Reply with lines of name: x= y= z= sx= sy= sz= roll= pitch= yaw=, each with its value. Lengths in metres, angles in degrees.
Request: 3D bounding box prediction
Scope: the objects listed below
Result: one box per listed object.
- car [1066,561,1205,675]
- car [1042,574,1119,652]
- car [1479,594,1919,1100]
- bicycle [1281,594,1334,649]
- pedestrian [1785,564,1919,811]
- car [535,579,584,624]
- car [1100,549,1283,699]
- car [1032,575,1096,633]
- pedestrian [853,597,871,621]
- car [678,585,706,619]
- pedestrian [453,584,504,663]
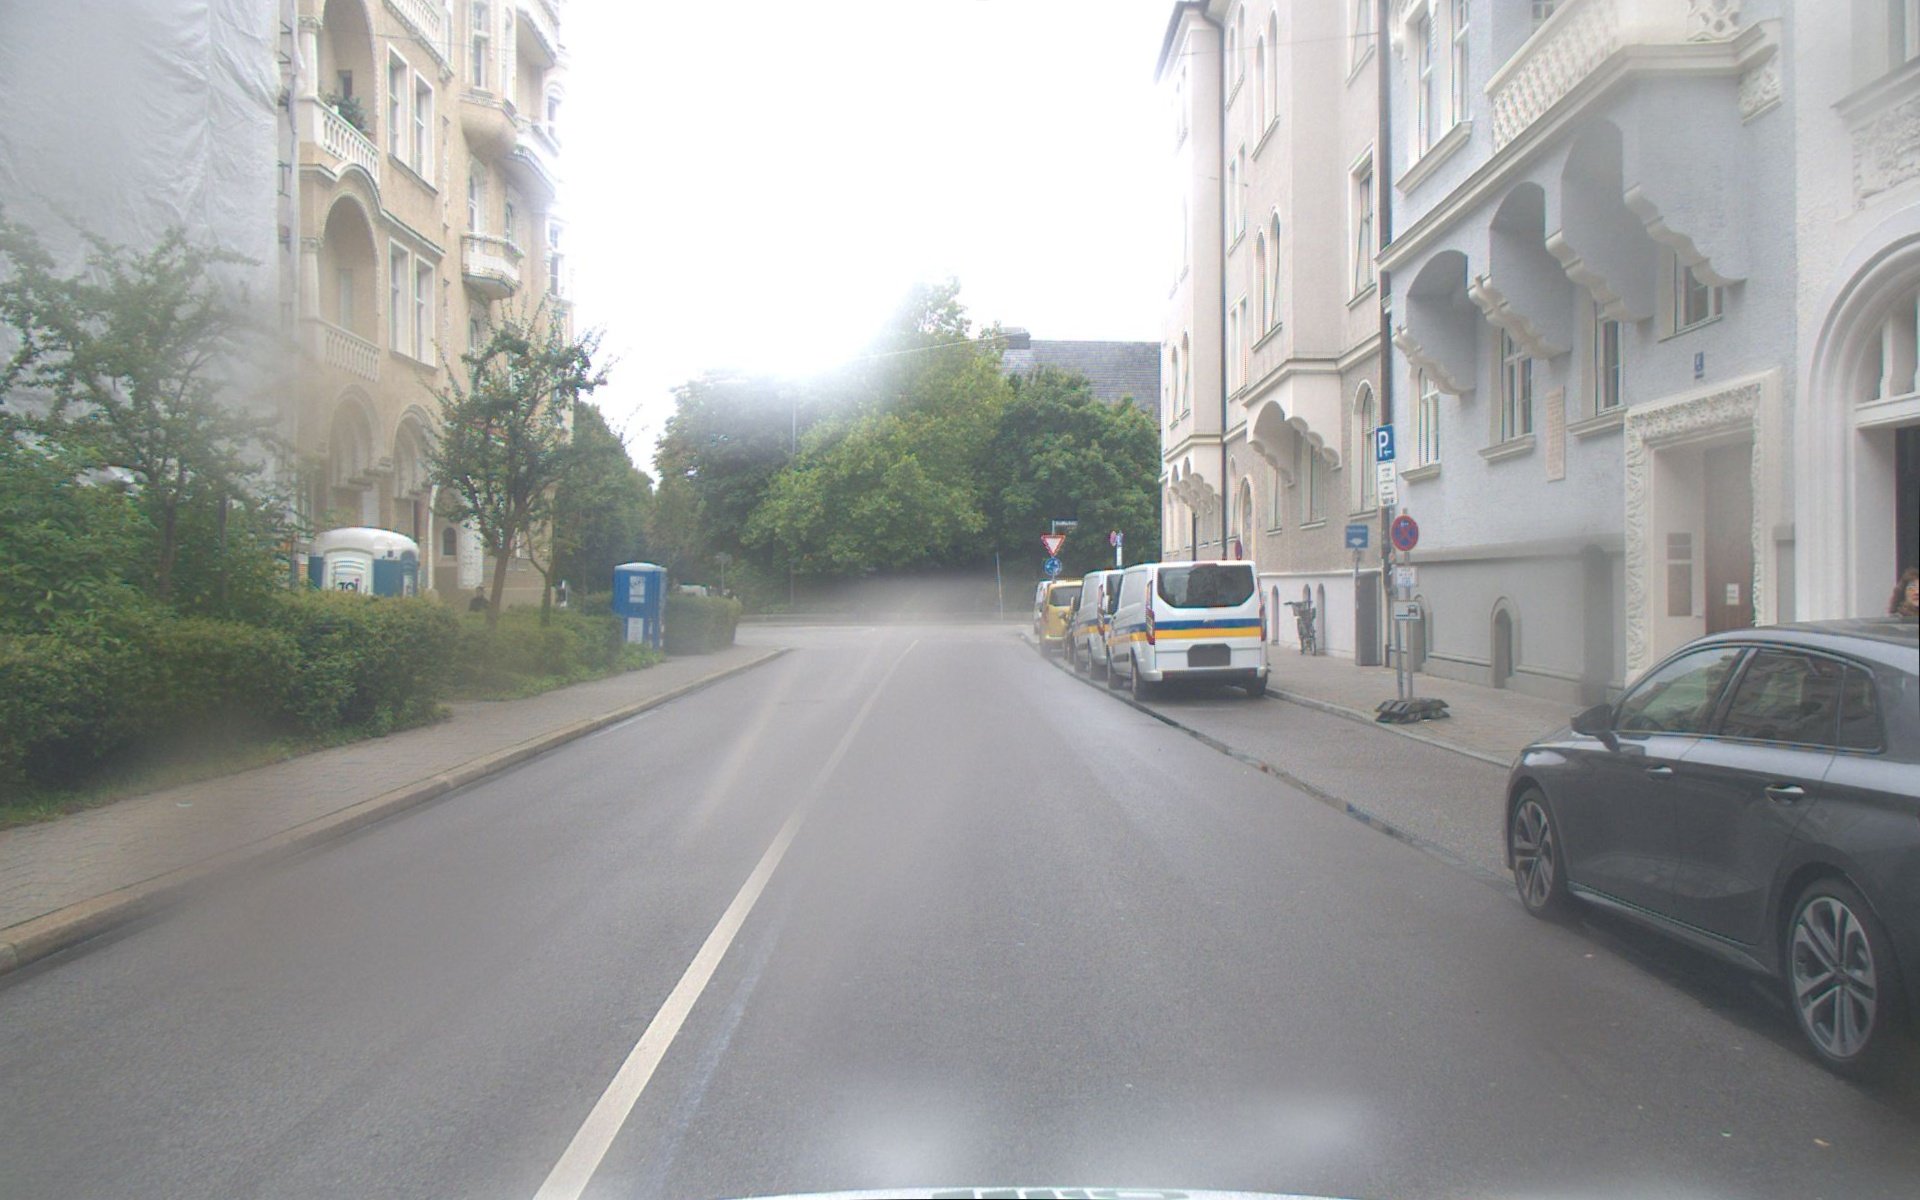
car: x=3.267 y=0.298 z=31.787 sx=1.920 sy=1.971 sz=4.991 roll=-1 pitch=0 yaw=-2
car: x=3.081 y=0.290 z=43.029 sx=1.812 sy=1.885 sz=4.822 roll=-1 pitch=0 yaw=2
car: x=3.630 y=0.723 z=6.579 sx=1.718 sy=1.459 sz=4.086 roll=-1 pitch=0 yaw=-2
bicycle: x=7.455 y=0.446 z=35.537 sx=0.680 sy=1.112 sz=2.037 roll=-3 pitch=0 yaw=0
pedestrian: x=6.355 y=0.562 z=11.228 sx=0.902 sy=1.582 sz=1.016 roll=-3 pitch=-2 yaw=-1
car: x=-27.835 y=0.087 z=115.135 sx=2.289 sy=2.973 sz=6.571 roll=-1 pitch=0 yaw=-5
car: x=3.459 y=0.324 z=25.640 sx=1.920 sy=2.049 sz=4.991 roll=-1 pitch=0 yaw=-2
car: x=3.794 y=0.134 z=61.238 sx=1.877 sy=1.996 sz=4.926 roll=-2 pitch=0 yaw=-1
pedestrian: x=-4.973 y=0.447 z=84.004 sx=0.794 sy=1.209 sz=0.920 roll=-1 pitch=0 yaw=6
car: x=-20.918 y=0.163 z=128.958 sx=2.004 sy=2.603 sz=5.235 roll=-1 pitch=0 yaw=-10
pedestrian: x=-11.167 y=0.541 z=38.386 sx=0.895 sy=1.782 sz=0.948 roll=-1 pitch=0 yaw=-1
